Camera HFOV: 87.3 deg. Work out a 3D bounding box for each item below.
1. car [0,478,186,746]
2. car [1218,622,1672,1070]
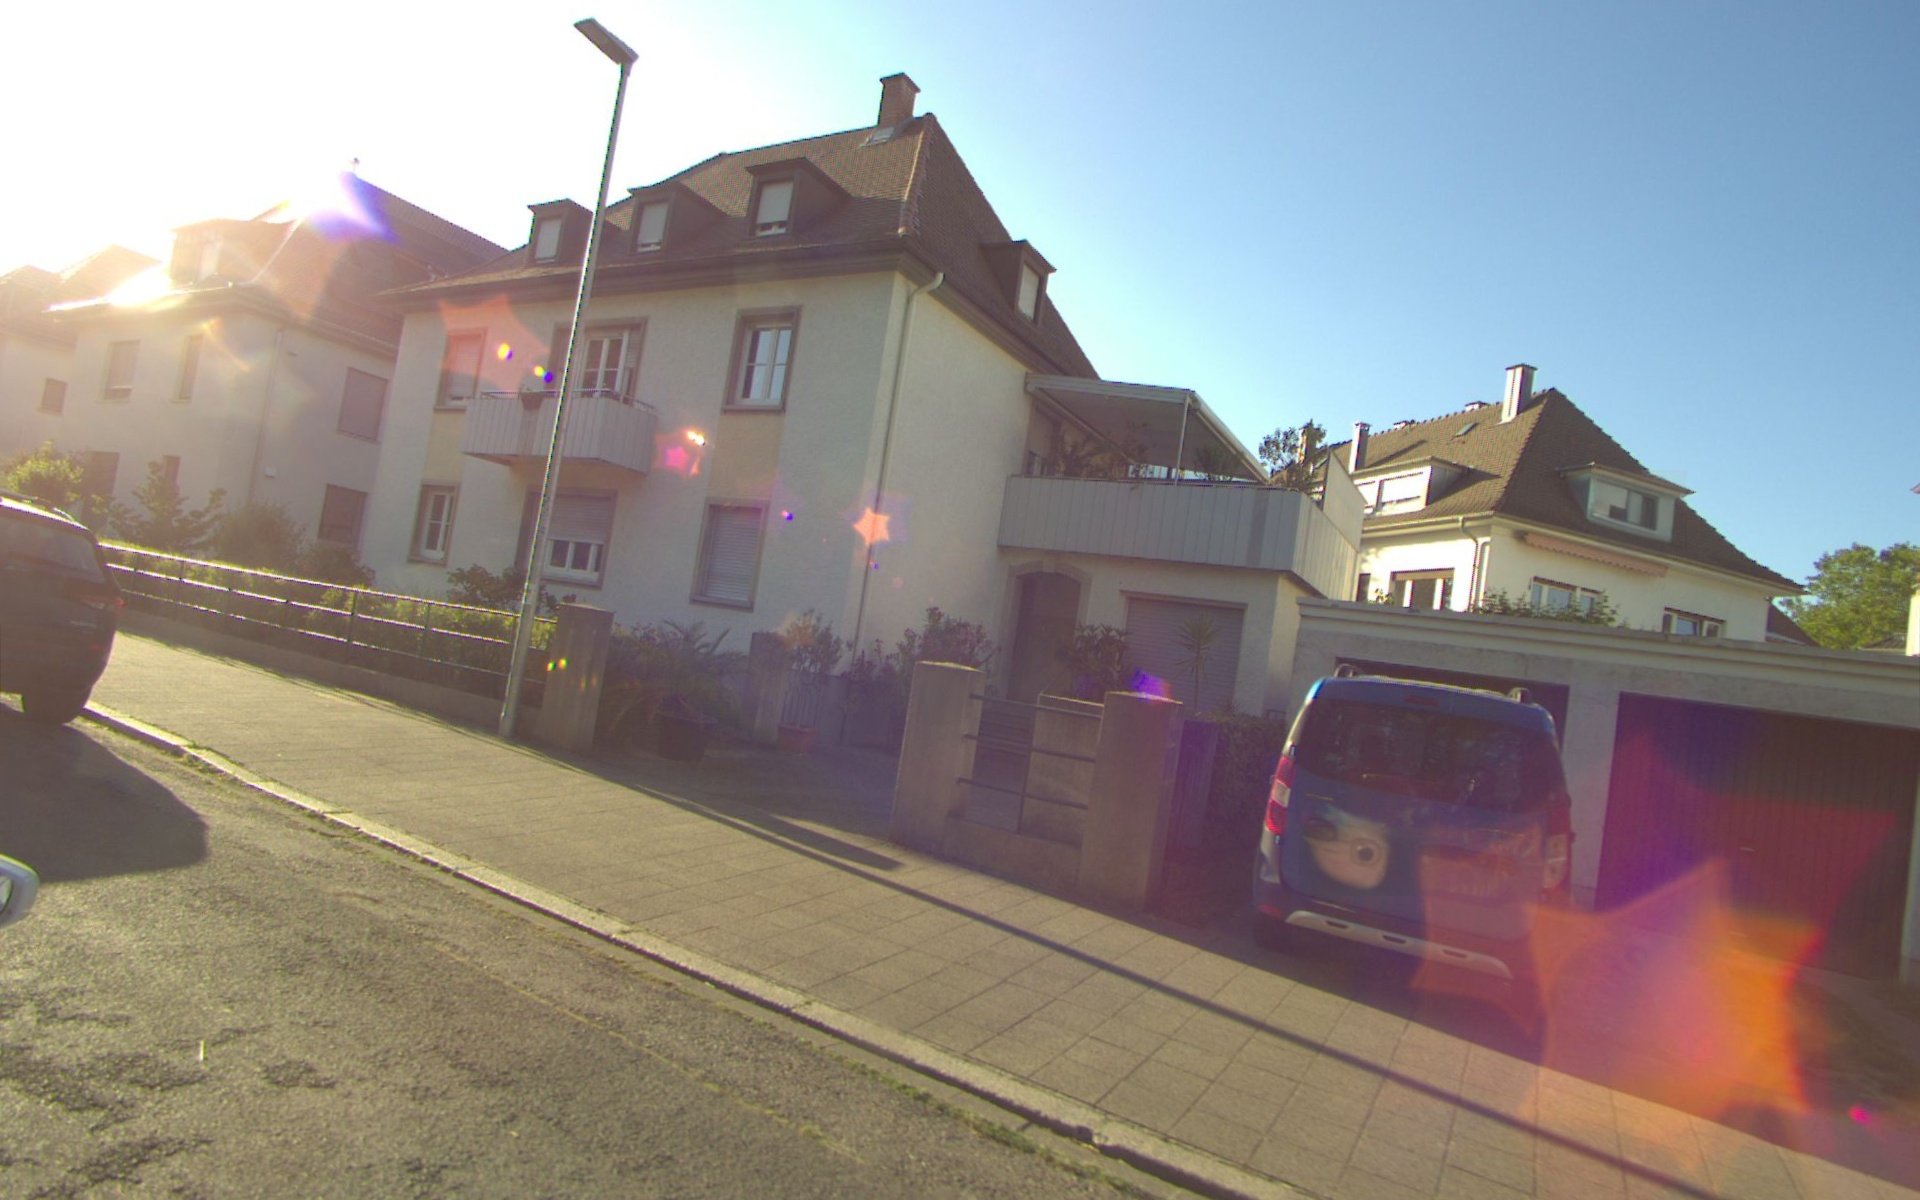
[{"bbox_3d":[-8.525,-0.182,8.056,4.392,1.733,1.869,7,-9,30],"label":"car"},{"bbox_3d":[3.395,1.471,7.136,1.965,1.948,4.003,8,-4,28],"label":"car"}]
